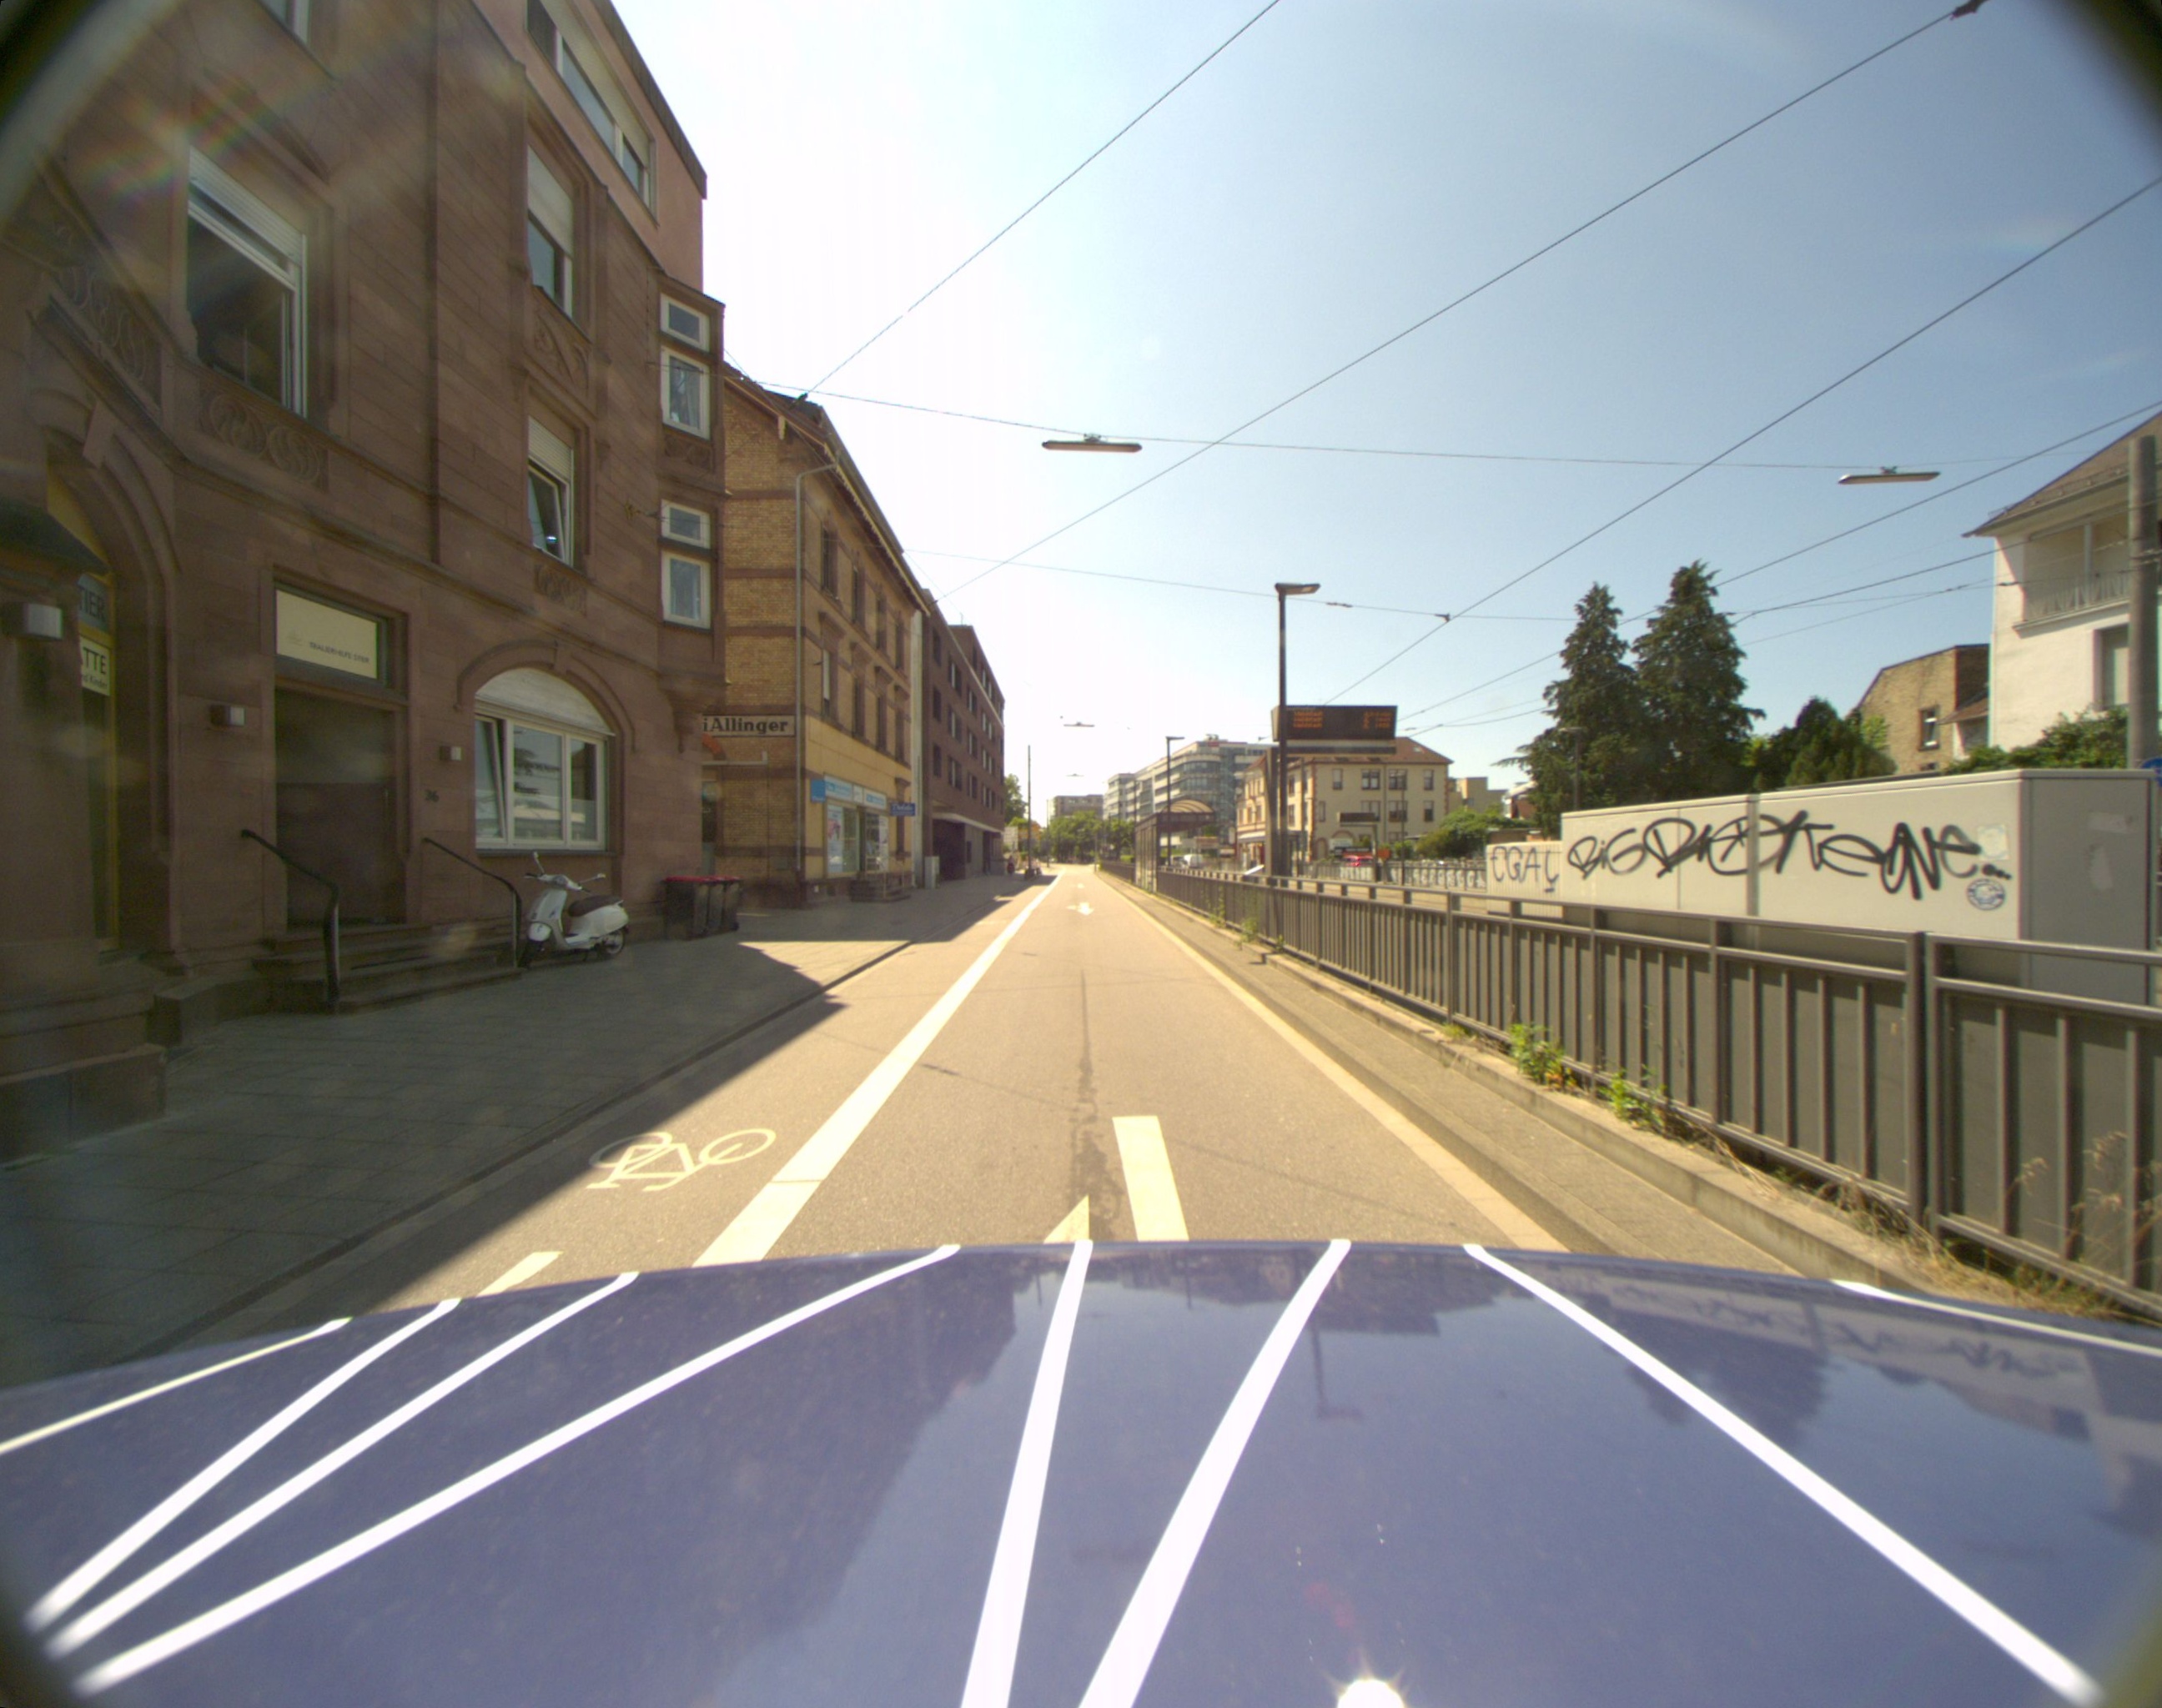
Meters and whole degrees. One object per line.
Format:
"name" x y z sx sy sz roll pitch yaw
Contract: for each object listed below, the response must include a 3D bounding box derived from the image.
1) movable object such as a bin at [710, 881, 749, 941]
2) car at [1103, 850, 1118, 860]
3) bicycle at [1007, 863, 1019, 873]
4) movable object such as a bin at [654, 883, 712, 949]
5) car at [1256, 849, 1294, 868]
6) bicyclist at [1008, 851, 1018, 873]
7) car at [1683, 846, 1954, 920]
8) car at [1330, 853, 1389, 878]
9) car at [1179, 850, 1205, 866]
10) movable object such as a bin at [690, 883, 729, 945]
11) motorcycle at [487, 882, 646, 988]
"movable object such as a bin" -6.470 1.040 14.007 0.376 1.042 0.657 2 0 0
"car" 5.257 0.214 135.961 2.000 1.827 3.996 -1 0 -10
"bicycle" -5.424 1.124 60.936 0.689 0.793 1.908 -1 0 3
"movable object such as a bin" -6.682 1.026 12.780 0.649 1.042 0.559 2 1 -1
"car" 15.578 0.350 61.262 1.823 1.459 4.623 -1 0 -1
"bicyclist" -5.437 0.640 61.021 0.671 1.712 0.928 -1 0 4
"car" 16.349 0.572 17.262 1.861 1.433 4.478 -1 0 1
"car" 16.248 0.647 44.604 1.823 1.387 4.174 -1 0 -2
"car" 13.071 0.457 89.677 1.861 1.806 4.694 0 0 -7
"movable object such as a bin" -6.522 1.043 13.358 0.376 1.042 0.559 2 1 0
"motorcycle" -6.437 0.961 9.643 0.527 1.142 1.881 0 0 8
